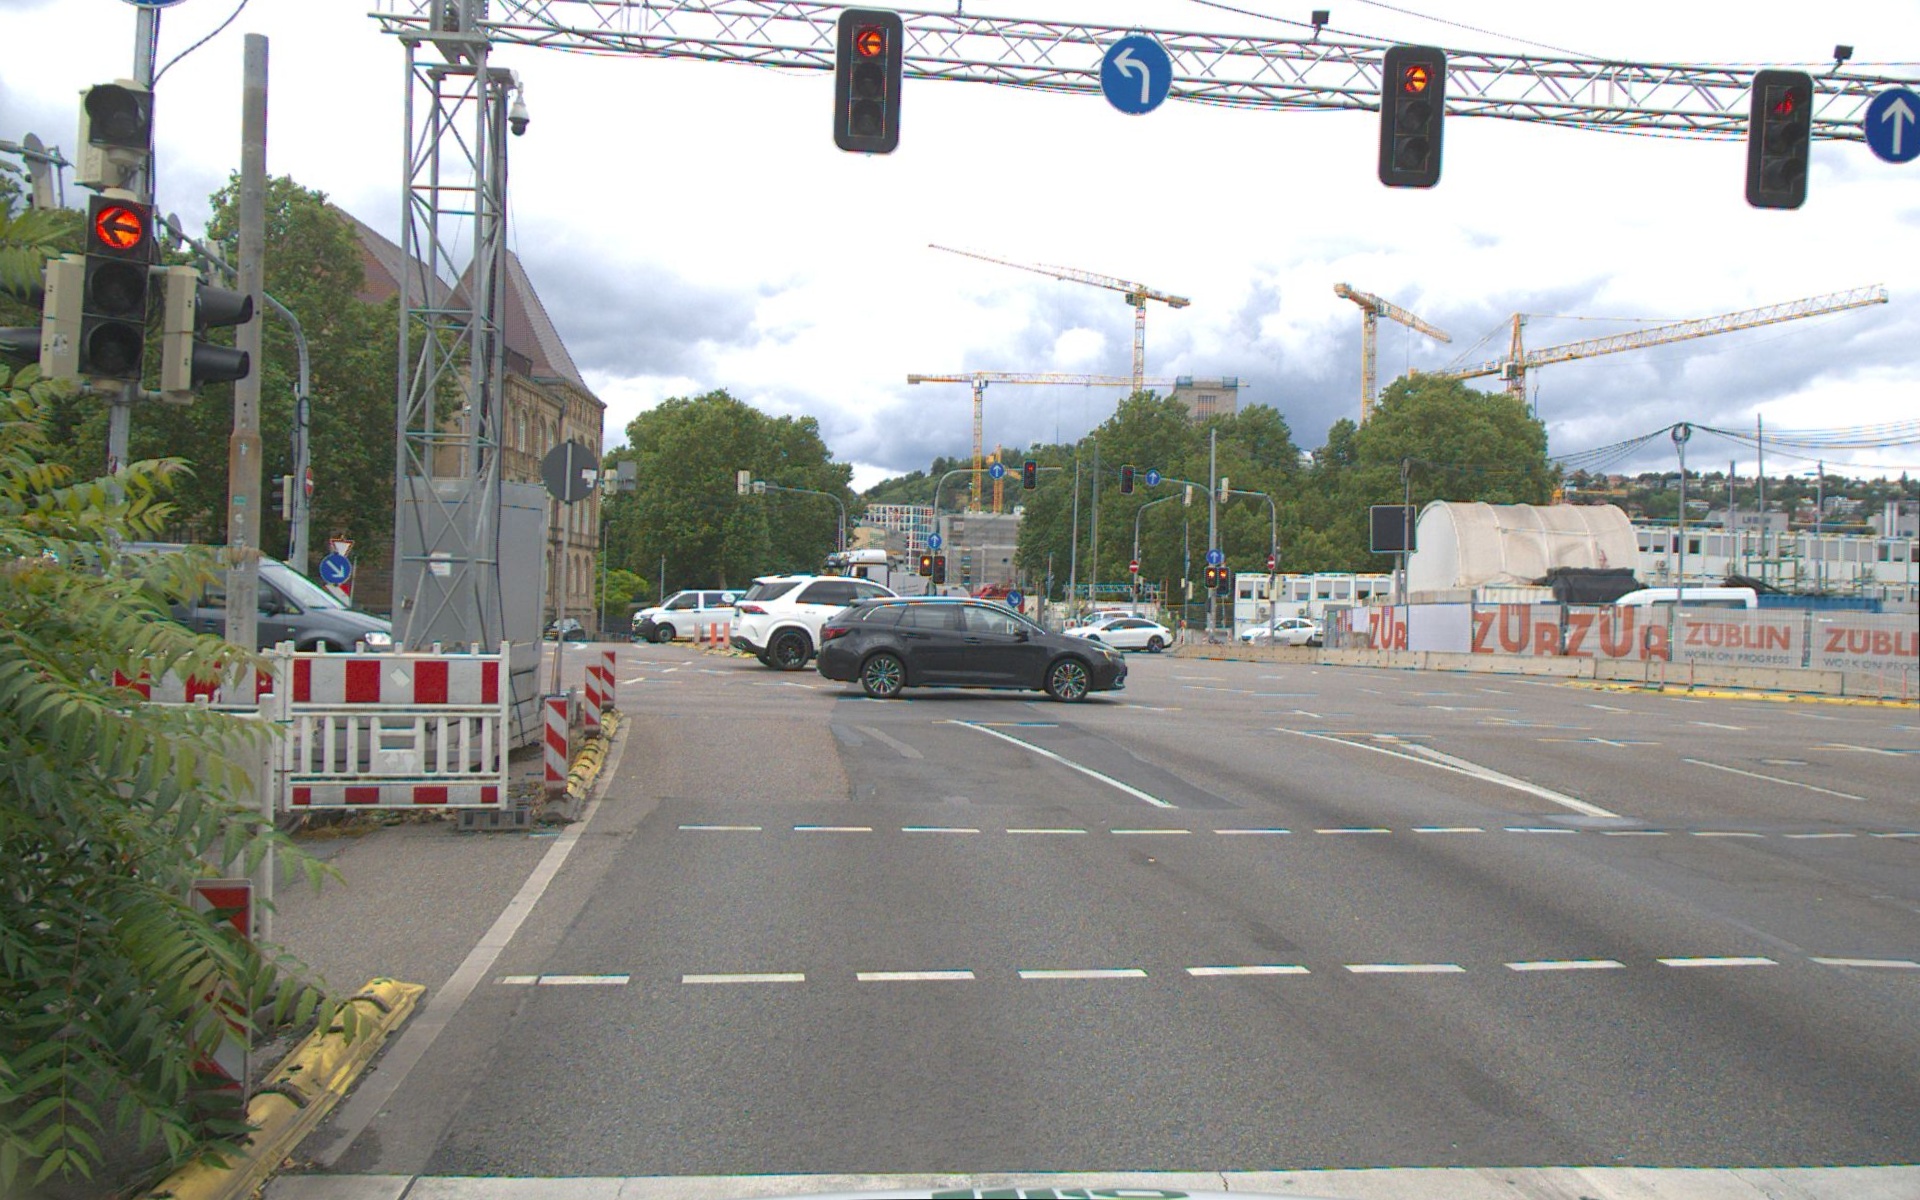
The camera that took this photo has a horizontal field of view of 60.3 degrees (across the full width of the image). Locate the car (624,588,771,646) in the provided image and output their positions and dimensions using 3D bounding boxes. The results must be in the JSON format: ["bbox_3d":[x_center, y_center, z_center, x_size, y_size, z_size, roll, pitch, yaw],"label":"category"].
[{"bbox_3d":[-9.723,0.637,61.320,5.061,2.049,2.062,1,0,-24],"label":"car"}]

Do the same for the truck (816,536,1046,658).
[{"bbox_3d":[-1.201,-0.047,71.886,9.592,5.047,3.089,1,-1,-26],"label":"truck"}]

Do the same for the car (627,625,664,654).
[{"bbox_3d":[-21.820,2.736,114.788,1.954,1.870,3.997,1,0,-3],"label":"car"}]

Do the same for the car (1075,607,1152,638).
[{"bbox_3d":[8.636,1.251,93.344,3.917,1.680,1.861,1,0,33],"label":"car"}]

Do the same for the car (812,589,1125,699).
[{"bbox_3d":[0.091,0.627,24.366,4.400,1.492,1.999,1,0,-3],"label":"car"}]

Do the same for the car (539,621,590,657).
[{"bbox_3d":[-21.260,2.076,88.983,1.954,1.870,3.997,1,0,-3],"label":"car"}]

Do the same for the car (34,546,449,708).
[{"bbox_3d":[-8.710,0.334,20.358,4.183,1.837,1.999,1,-1,-2],"label":"car"}]

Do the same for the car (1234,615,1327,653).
[{"bbox_3d":[15.471,1.651,79.856,4.093,1.754,1.894,1,0,-24],"label":"car"}]

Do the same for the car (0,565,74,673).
[{"bbox_3d":[-18.750,0.297,29.668,4.613,1.865,1.868,1,0,-4],"label":"car"}]

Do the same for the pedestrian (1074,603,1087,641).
[{"bbox_3d":[6.015,1.103,82.602,0.574,1.872,0.604,1,-1,-4],"label":"pedestrian"}]

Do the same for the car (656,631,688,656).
[{"bbox_3d":[-22.456,3.365,129.049,1.954,1.870,3.997,1,0,-3],"label":"car"}]

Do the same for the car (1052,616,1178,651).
[{"bbox_3d":[6.784,1.455,72.243,5.066,1.444,2.220,1,0,-24],"label":"car"}]

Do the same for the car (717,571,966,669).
[{"bbox_3d":[-2.298,0.396,31.920,4.423,1.790,1.989,1,0,-20],"label":"car"}]

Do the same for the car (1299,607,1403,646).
[{"bbox_3d":[18.259,1.253,77.260,4.524,1.754,1.894,1,0,-24],"label":"car"}]

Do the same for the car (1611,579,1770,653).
[{"bbox_3d":[21.058,0.449,47.827,3.902,2.049,2.001,1,0,15],"label":"car"}]
